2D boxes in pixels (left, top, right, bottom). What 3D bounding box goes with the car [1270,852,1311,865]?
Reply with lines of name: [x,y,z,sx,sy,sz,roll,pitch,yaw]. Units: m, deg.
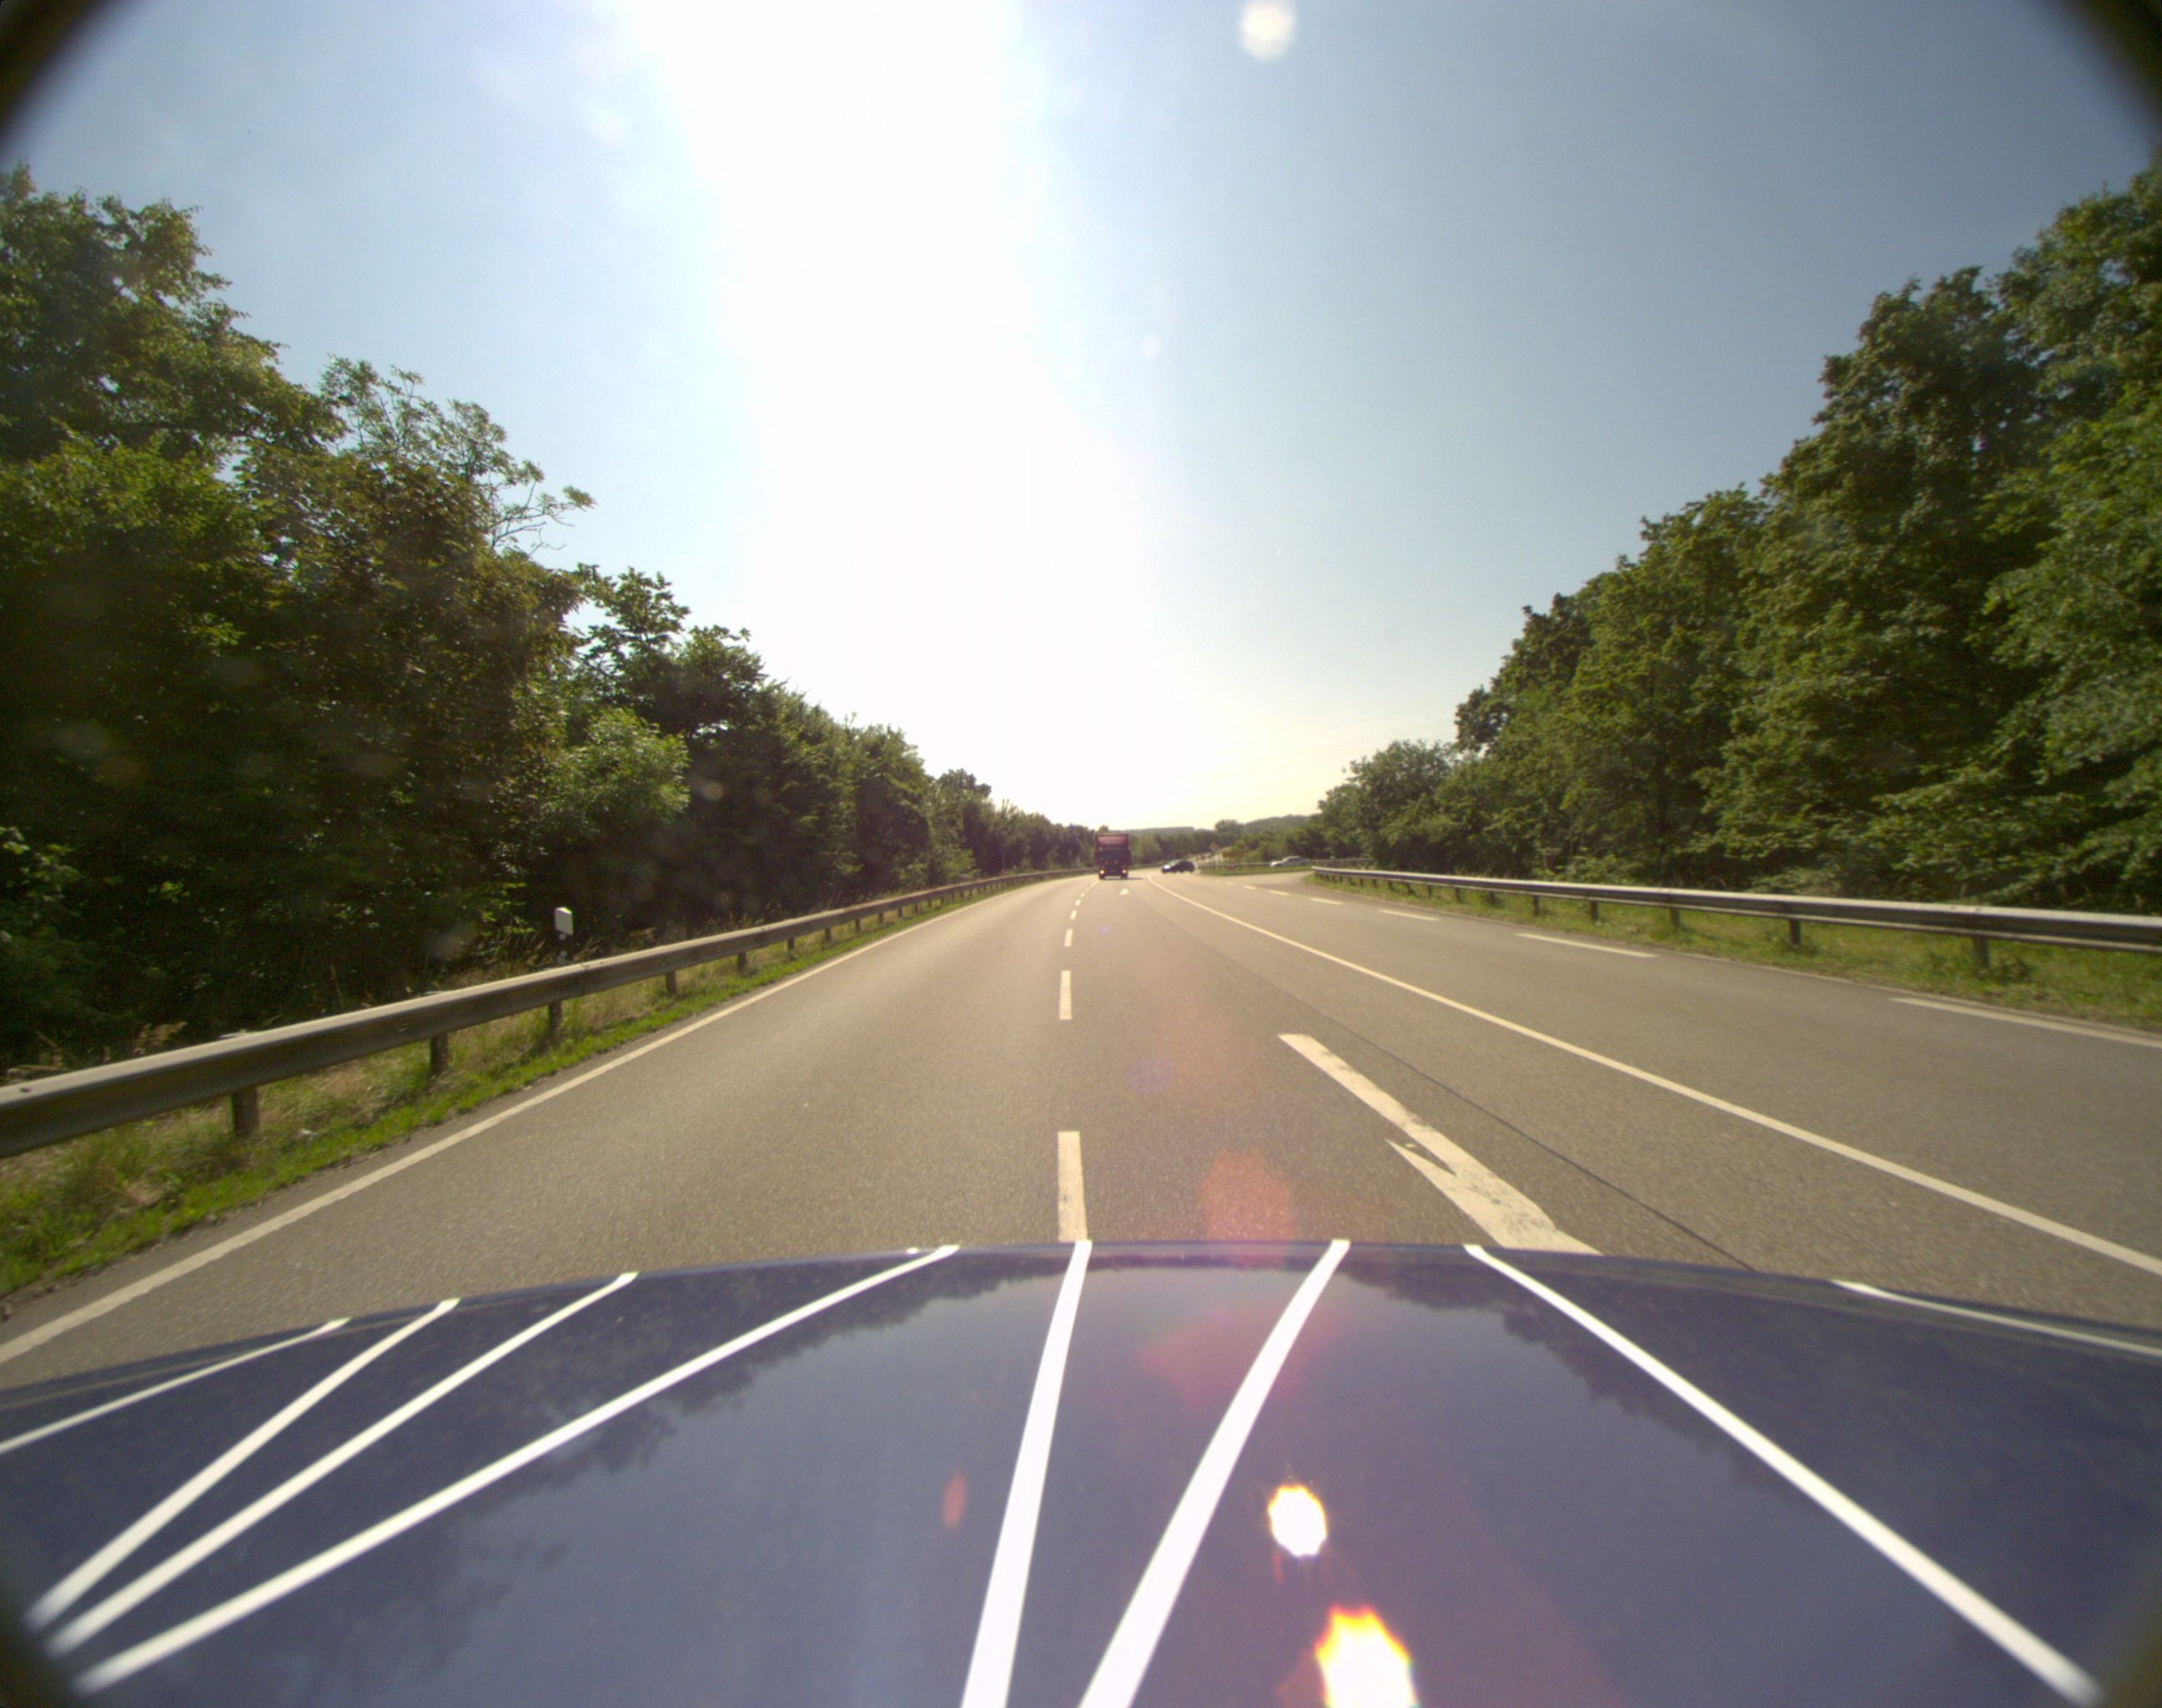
car: [24.562,0.519,89.157,4.371,1.377,1.790,-2,0,10]

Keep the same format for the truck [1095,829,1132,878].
truck: [2.736,0.009,62.892,2.689,3.640,9.265,-2,0,3]

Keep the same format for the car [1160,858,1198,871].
car: [11.007,1.179,85.589,4.006,1.406,1.784,-2,0,-33]
